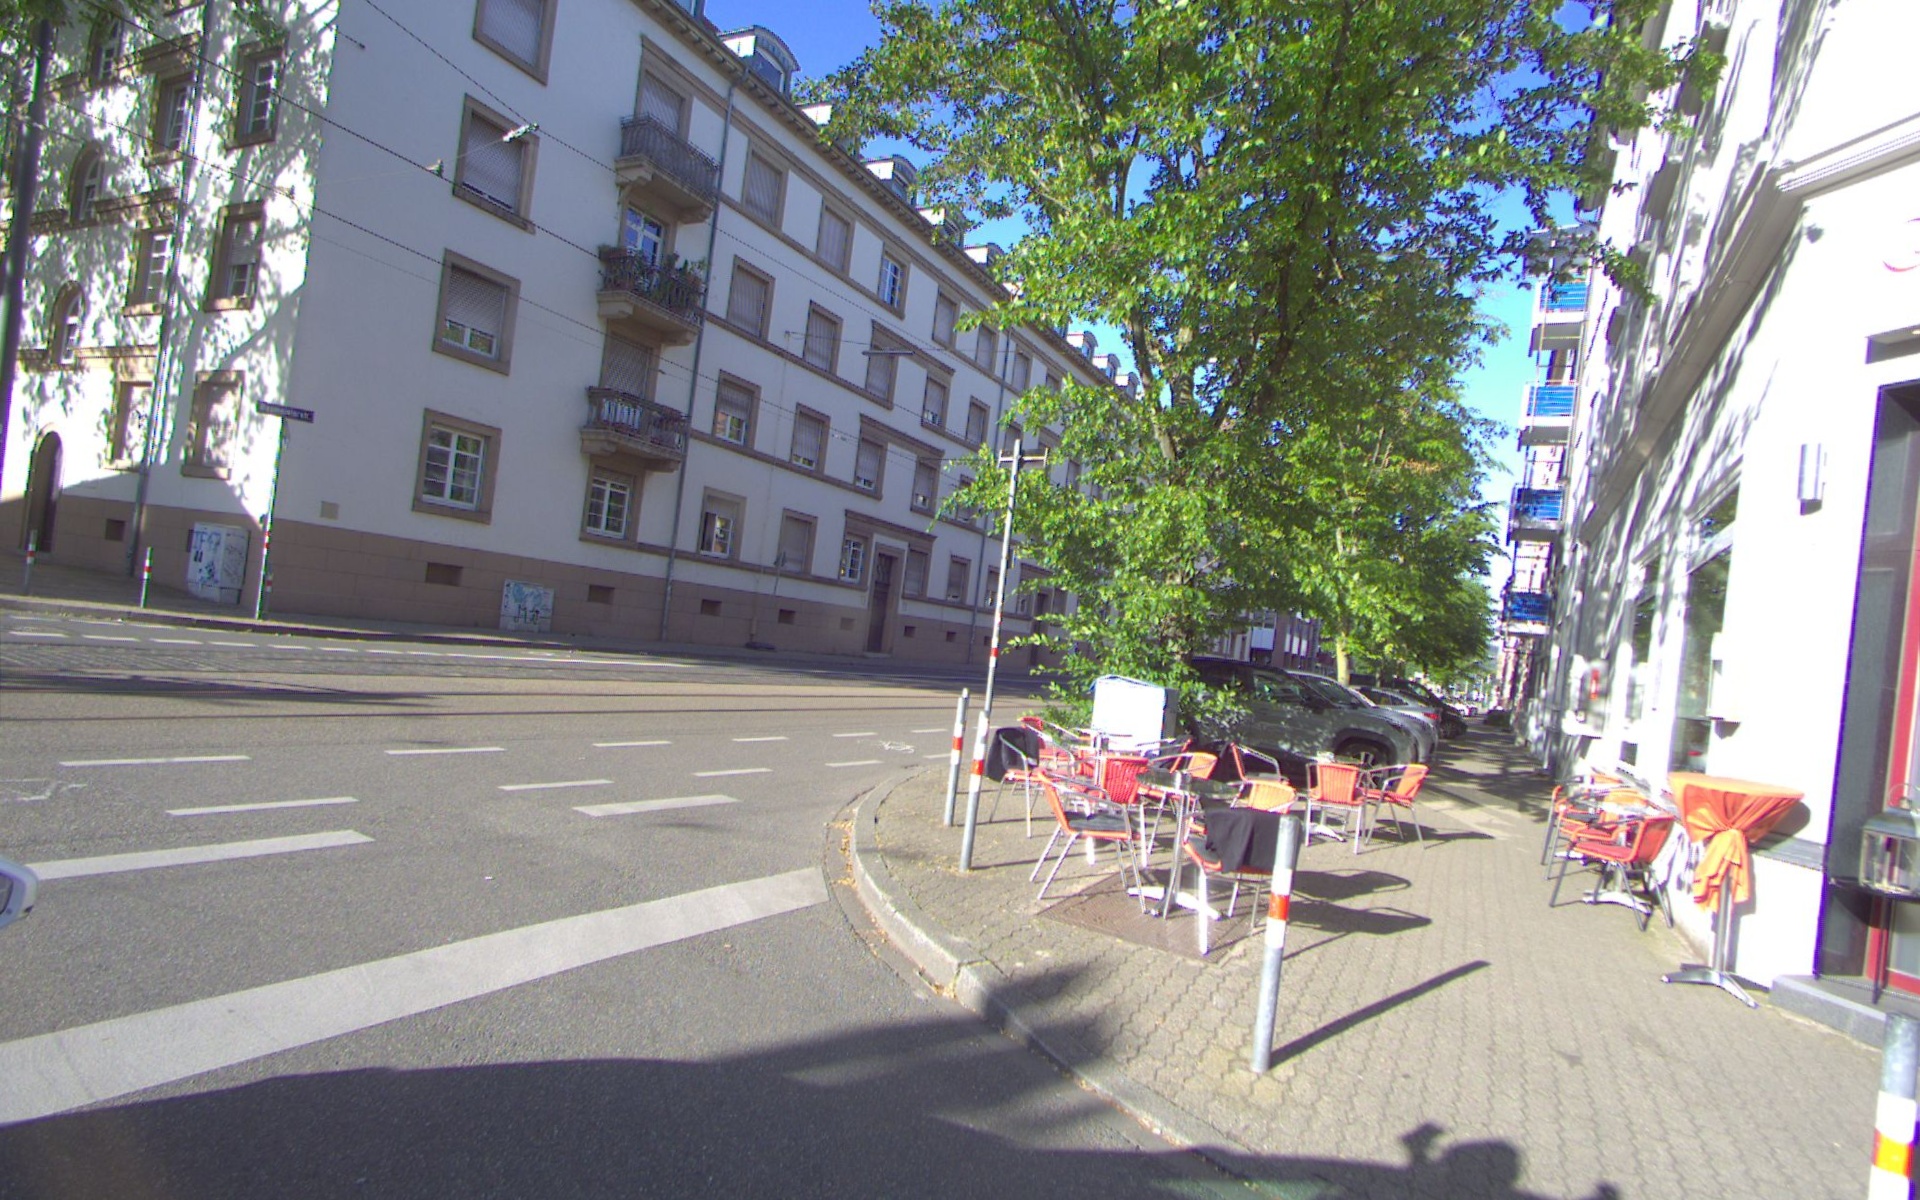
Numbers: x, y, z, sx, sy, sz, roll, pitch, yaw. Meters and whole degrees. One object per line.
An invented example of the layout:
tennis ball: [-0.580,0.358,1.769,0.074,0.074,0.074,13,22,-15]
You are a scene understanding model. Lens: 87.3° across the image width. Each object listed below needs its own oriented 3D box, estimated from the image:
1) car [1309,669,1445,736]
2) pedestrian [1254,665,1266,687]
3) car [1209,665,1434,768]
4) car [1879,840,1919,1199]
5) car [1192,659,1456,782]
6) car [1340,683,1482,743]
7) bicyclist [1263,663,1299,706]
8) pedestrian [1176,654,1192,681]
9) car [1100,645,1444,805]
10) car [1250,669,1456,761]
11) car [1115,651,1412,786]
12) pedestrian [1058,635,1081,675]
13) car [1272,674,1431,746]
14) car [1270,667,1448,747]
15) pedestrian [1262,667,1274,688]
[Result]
car: [15.285,3.731,37.017,4.061,1.910,1.888,6,-1,-4]
pedestrian: [27.626,7.016,92.739,0.725,1.859,0.696,8,0,27]
car: [7.276,2.326,20.633,4.057,1.506,1.621,6,-1,15]
car: [3.270,1.146,0.310,4.130,1.680,1.764,7,-3,34]
car: [6.339,2.079,17.929,4.056,1.574,1.621,6,-1,9]
car: [15.485,3.870,34.624,4.061,1.506,1.619,6,-1,-4]
bicyclist: [11.869,3.127,37.166,0.886,1.471,1.262,7,-1,28]
pedestrian: [15.914,4.788,71.375,0.725,1.859,0.696,8,0,27]
car: [4.056,1.613,13.602,4.057,1.574,1.621,6,-1,4]
car: [8.824,2.564,22.913,4.057,1.506,1.621,6,-1,14]
car: [4.683,1.824,15.846,4.061,1.574,1.619,6,-1,-4]
pedestrian: [5.434,2.719,49.969,0.725,1.859,0.696,8,0,27]
car: [11.276,3.126,29.132,4.059,1.506,1.620,6,-1,21]
car: [10.327,2.726,26.202,4.060,1.506,1.620,6,-1,23]
pedestrian: [28.139,7.071,91.927,0.725,1.859,0.696,8,0,27]
